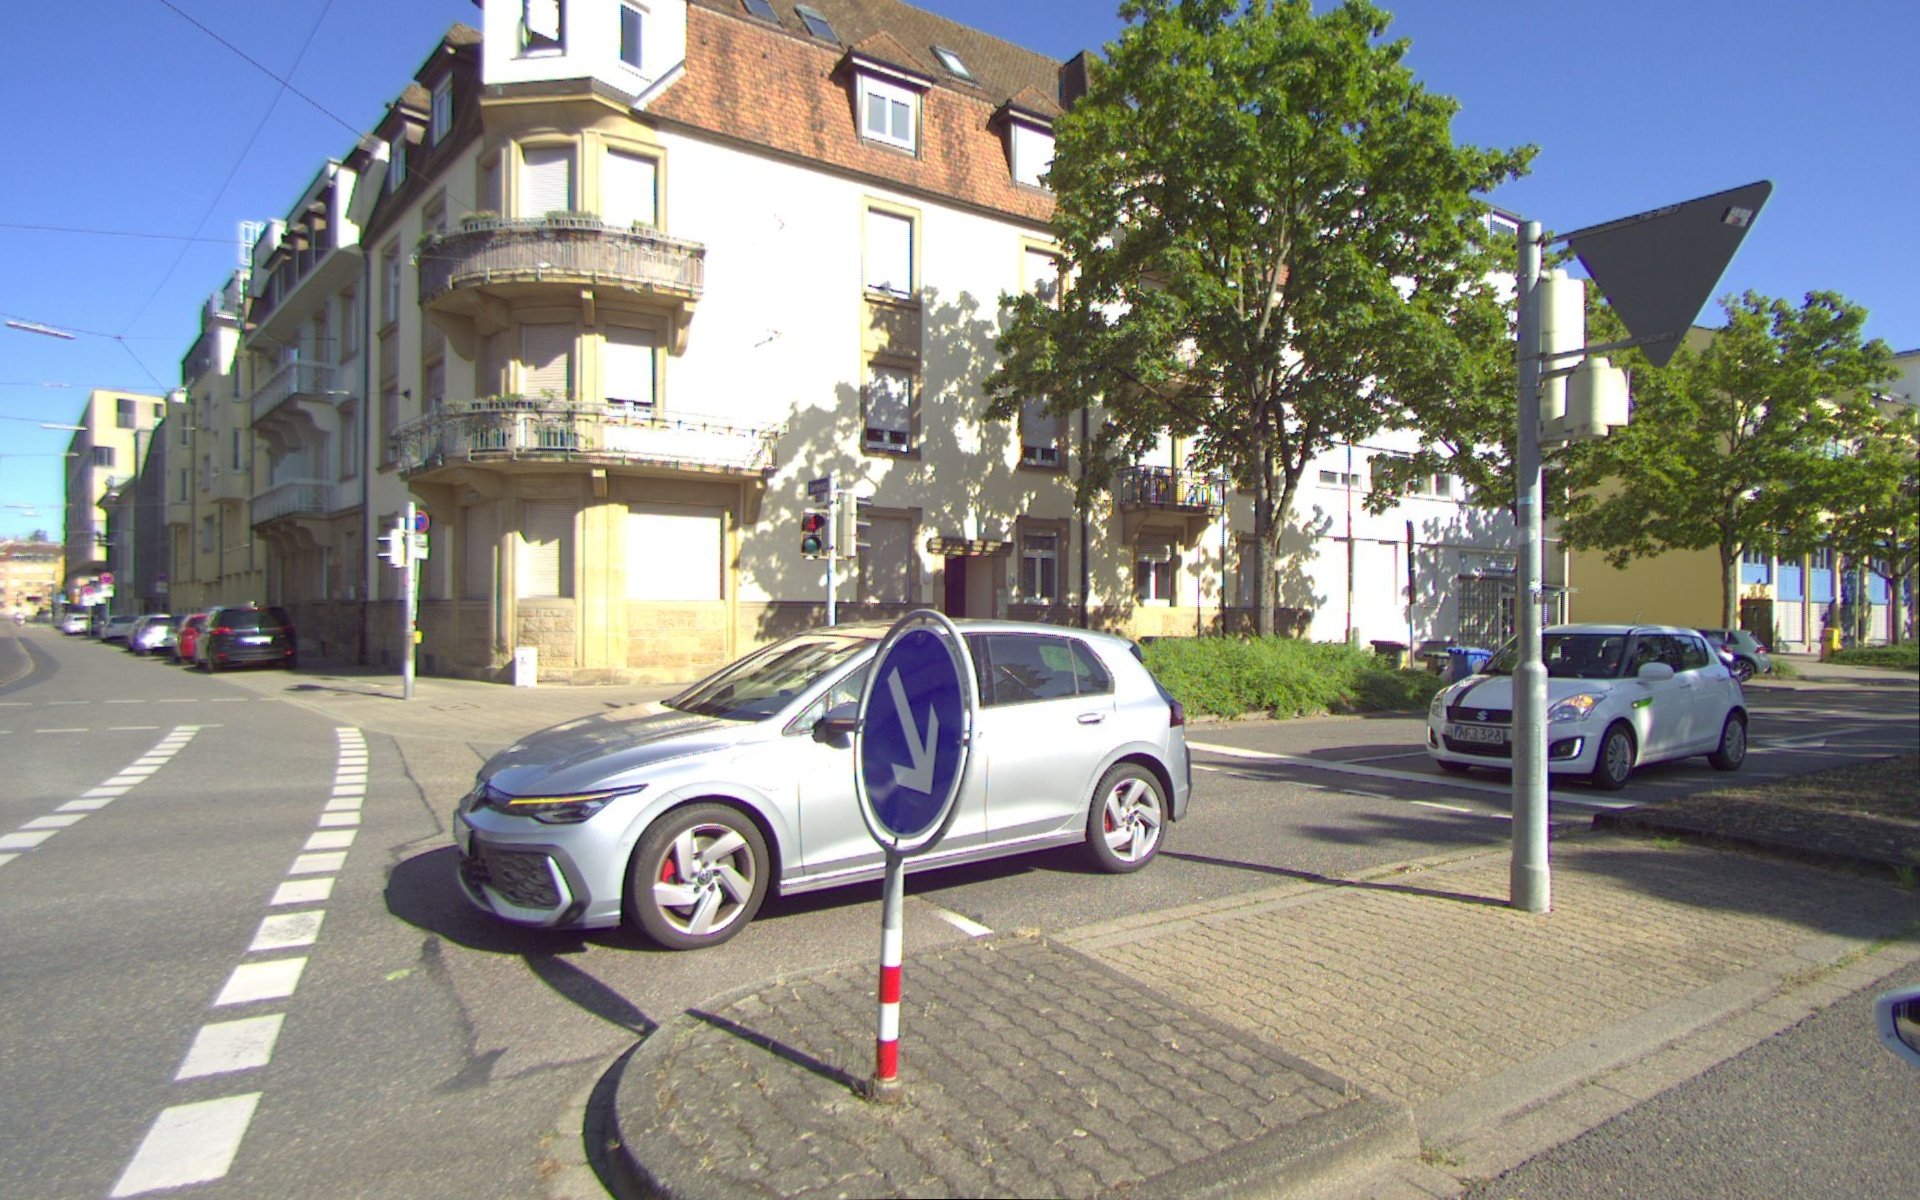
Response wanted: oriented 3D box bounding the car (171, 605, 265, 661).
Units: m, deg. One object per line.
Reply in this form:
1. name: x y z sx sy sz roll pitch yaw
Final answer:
1. car: -22.305 0.958 30.137 1.885 1.561 3.842 1 -1 -42

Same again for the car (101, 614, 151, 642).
1. car: -44.647 1.468 53.729 1.949 1.381 3.795 -1 0 -41

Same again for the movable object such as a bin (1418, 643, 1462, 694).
1. movable object such as a bin: 9.770 1.386 20.447 0.629 0.989 0.513 1 0 -22

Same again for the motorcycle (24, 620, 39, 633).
1. motorcycle: -93.474 2.666 101.088 2.725 1.249 0.912 0 -1 43

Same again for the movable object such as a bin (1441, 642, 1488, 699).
1. movable object such as a bin: 9.823 1.358 19.557 0.629 1.061 0.513 1 0 -22

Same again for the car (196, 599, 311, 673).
1. car: -18.315 0.887 25.974 1.948 1.747 4.122 1 -1 -42

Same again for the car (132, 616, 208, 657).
1. car: -29.213 1.302 37.115 1.985 1.381 3.795 -1 0 -41

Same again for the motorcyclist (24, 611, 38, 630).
1. motorcyclist: -93.367 2.049 100.968 1.041 1.894 0.937 0 -1 42

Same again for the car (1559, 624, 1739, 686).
1. car: 18.766 1.453 27.556 3.813 1.530 1.827 1 -1 26

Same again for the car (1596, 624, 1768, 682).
1. car: 21.009 1.508 29.409 3.814 1.530 1.826 1 -1 26

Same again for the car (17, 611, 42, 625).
1. car: -94.499 1.812 102.032 1.790 1.381 3.668 -1 0 -41

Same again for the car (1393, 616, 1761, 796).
1. car: 6.395 0.960 10.330 3.820 1.532 1.696 1 -3 -32

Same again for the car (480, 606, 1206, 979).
1. car: -0.529 0.821 5.779 3.812 1.471 1.697 2 -2 -35

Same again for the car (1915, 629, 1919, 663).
1. car: 45.918 2.087 44.912 4.347 1.573 1.916 -1 -2 33

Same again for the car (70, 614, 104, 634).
1. car: -62.878 1.682 72.342 1.790 1.381 3.668 -1 0 -41

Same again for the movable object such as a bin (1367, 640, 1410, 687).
1. movable object such as a bin: 8.700 1.276 20.404 0.629 0.925 0.513 1 0 -22
